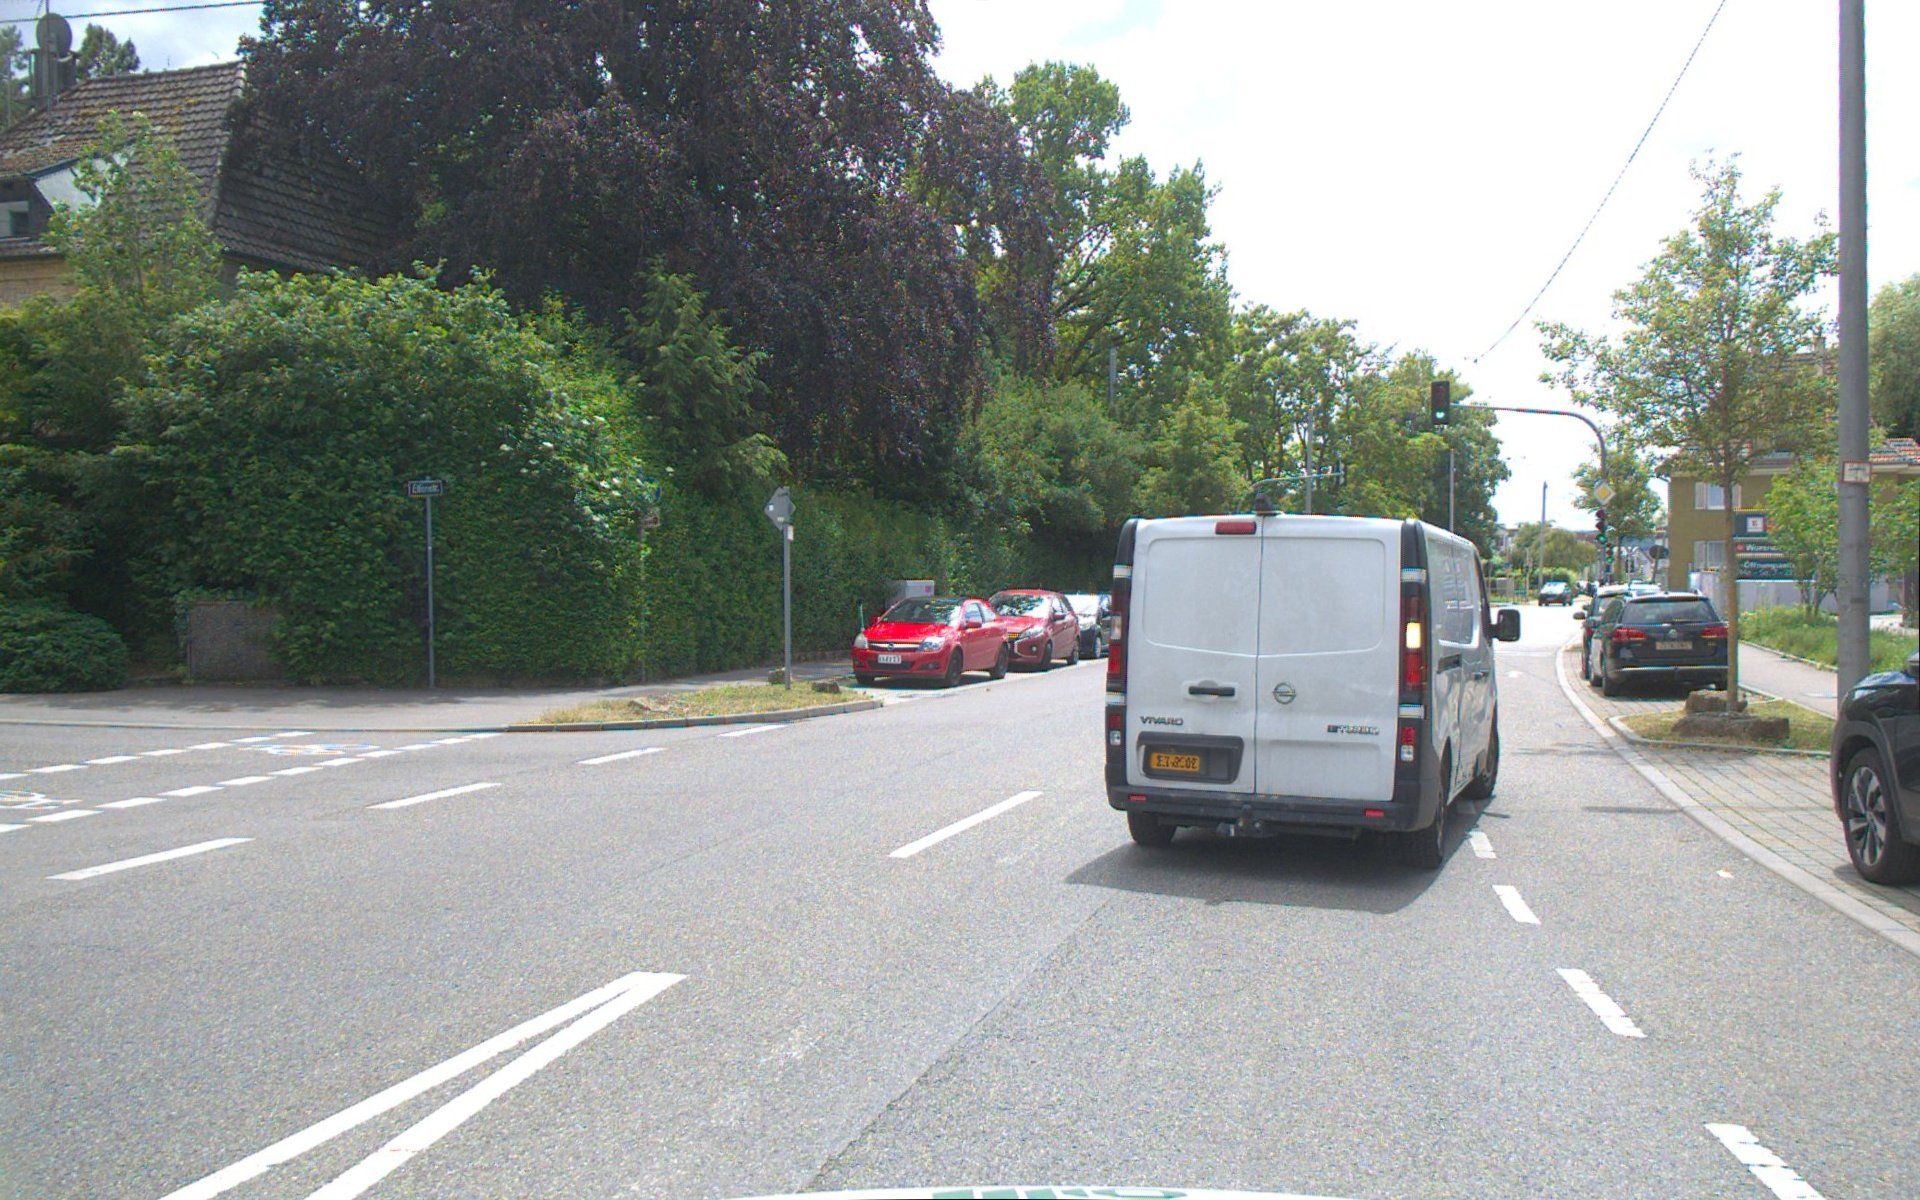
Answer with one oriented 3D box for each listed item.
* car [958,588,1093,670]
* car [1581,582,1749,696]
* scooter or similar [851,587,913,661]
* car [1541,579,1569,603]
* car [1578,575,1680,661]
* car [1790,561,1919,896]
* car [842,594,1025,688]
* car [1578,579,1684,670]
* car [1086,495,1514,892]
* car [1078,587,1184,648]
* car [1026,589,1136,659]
[{"bbox_3d":[1.376,0.525,32.890,1.615,1.476,4.107,1,1,18],"label":"car"},{"bbox_3d":[10.559,0.530,25.091,1.727,1.503,4.939,-3,-1,17],"label":"car"},{"bbox_3d":[-1.570,0.471,33.519,0.656,1.437,1.649,1,1,20],"label":"scooter or similar"},{"bbox_3d":[42.085,-0.652,116.992,1.795,1.645,4.153,-1,1,20],"label":"car"},{"bbox_3d":[14.134,0.358,35.127,1.701,1.644,4.388,-3,-1,19],"label":"car"},{"bbox_3d":[5.516,0.614,7.337,1.838,1.650,4.851,-2,0,9],"label":"car"},{"bbox_3d":[-0.338,0.627,27.867,1.626,1.402,4.568,1,1,19],"label":"car"},{"bbox_3d":[12.061,0.412,29.892,1.535,1.519,4.001,-1,0,19],"label":"car"},{"bbox_3d":[2.502,0.438,10.997,1.899,1.994,4.833,2,1,22],"label":"car"},{"bbox_3d":[4.361,0.395,41.571,1.659,1.389,4.688,2,1,18],"label":"car"},{"bbox_3d":[2.795,0.502,37.555,1.562,1.476,3.597,1,1,20],"label":"car"}]
